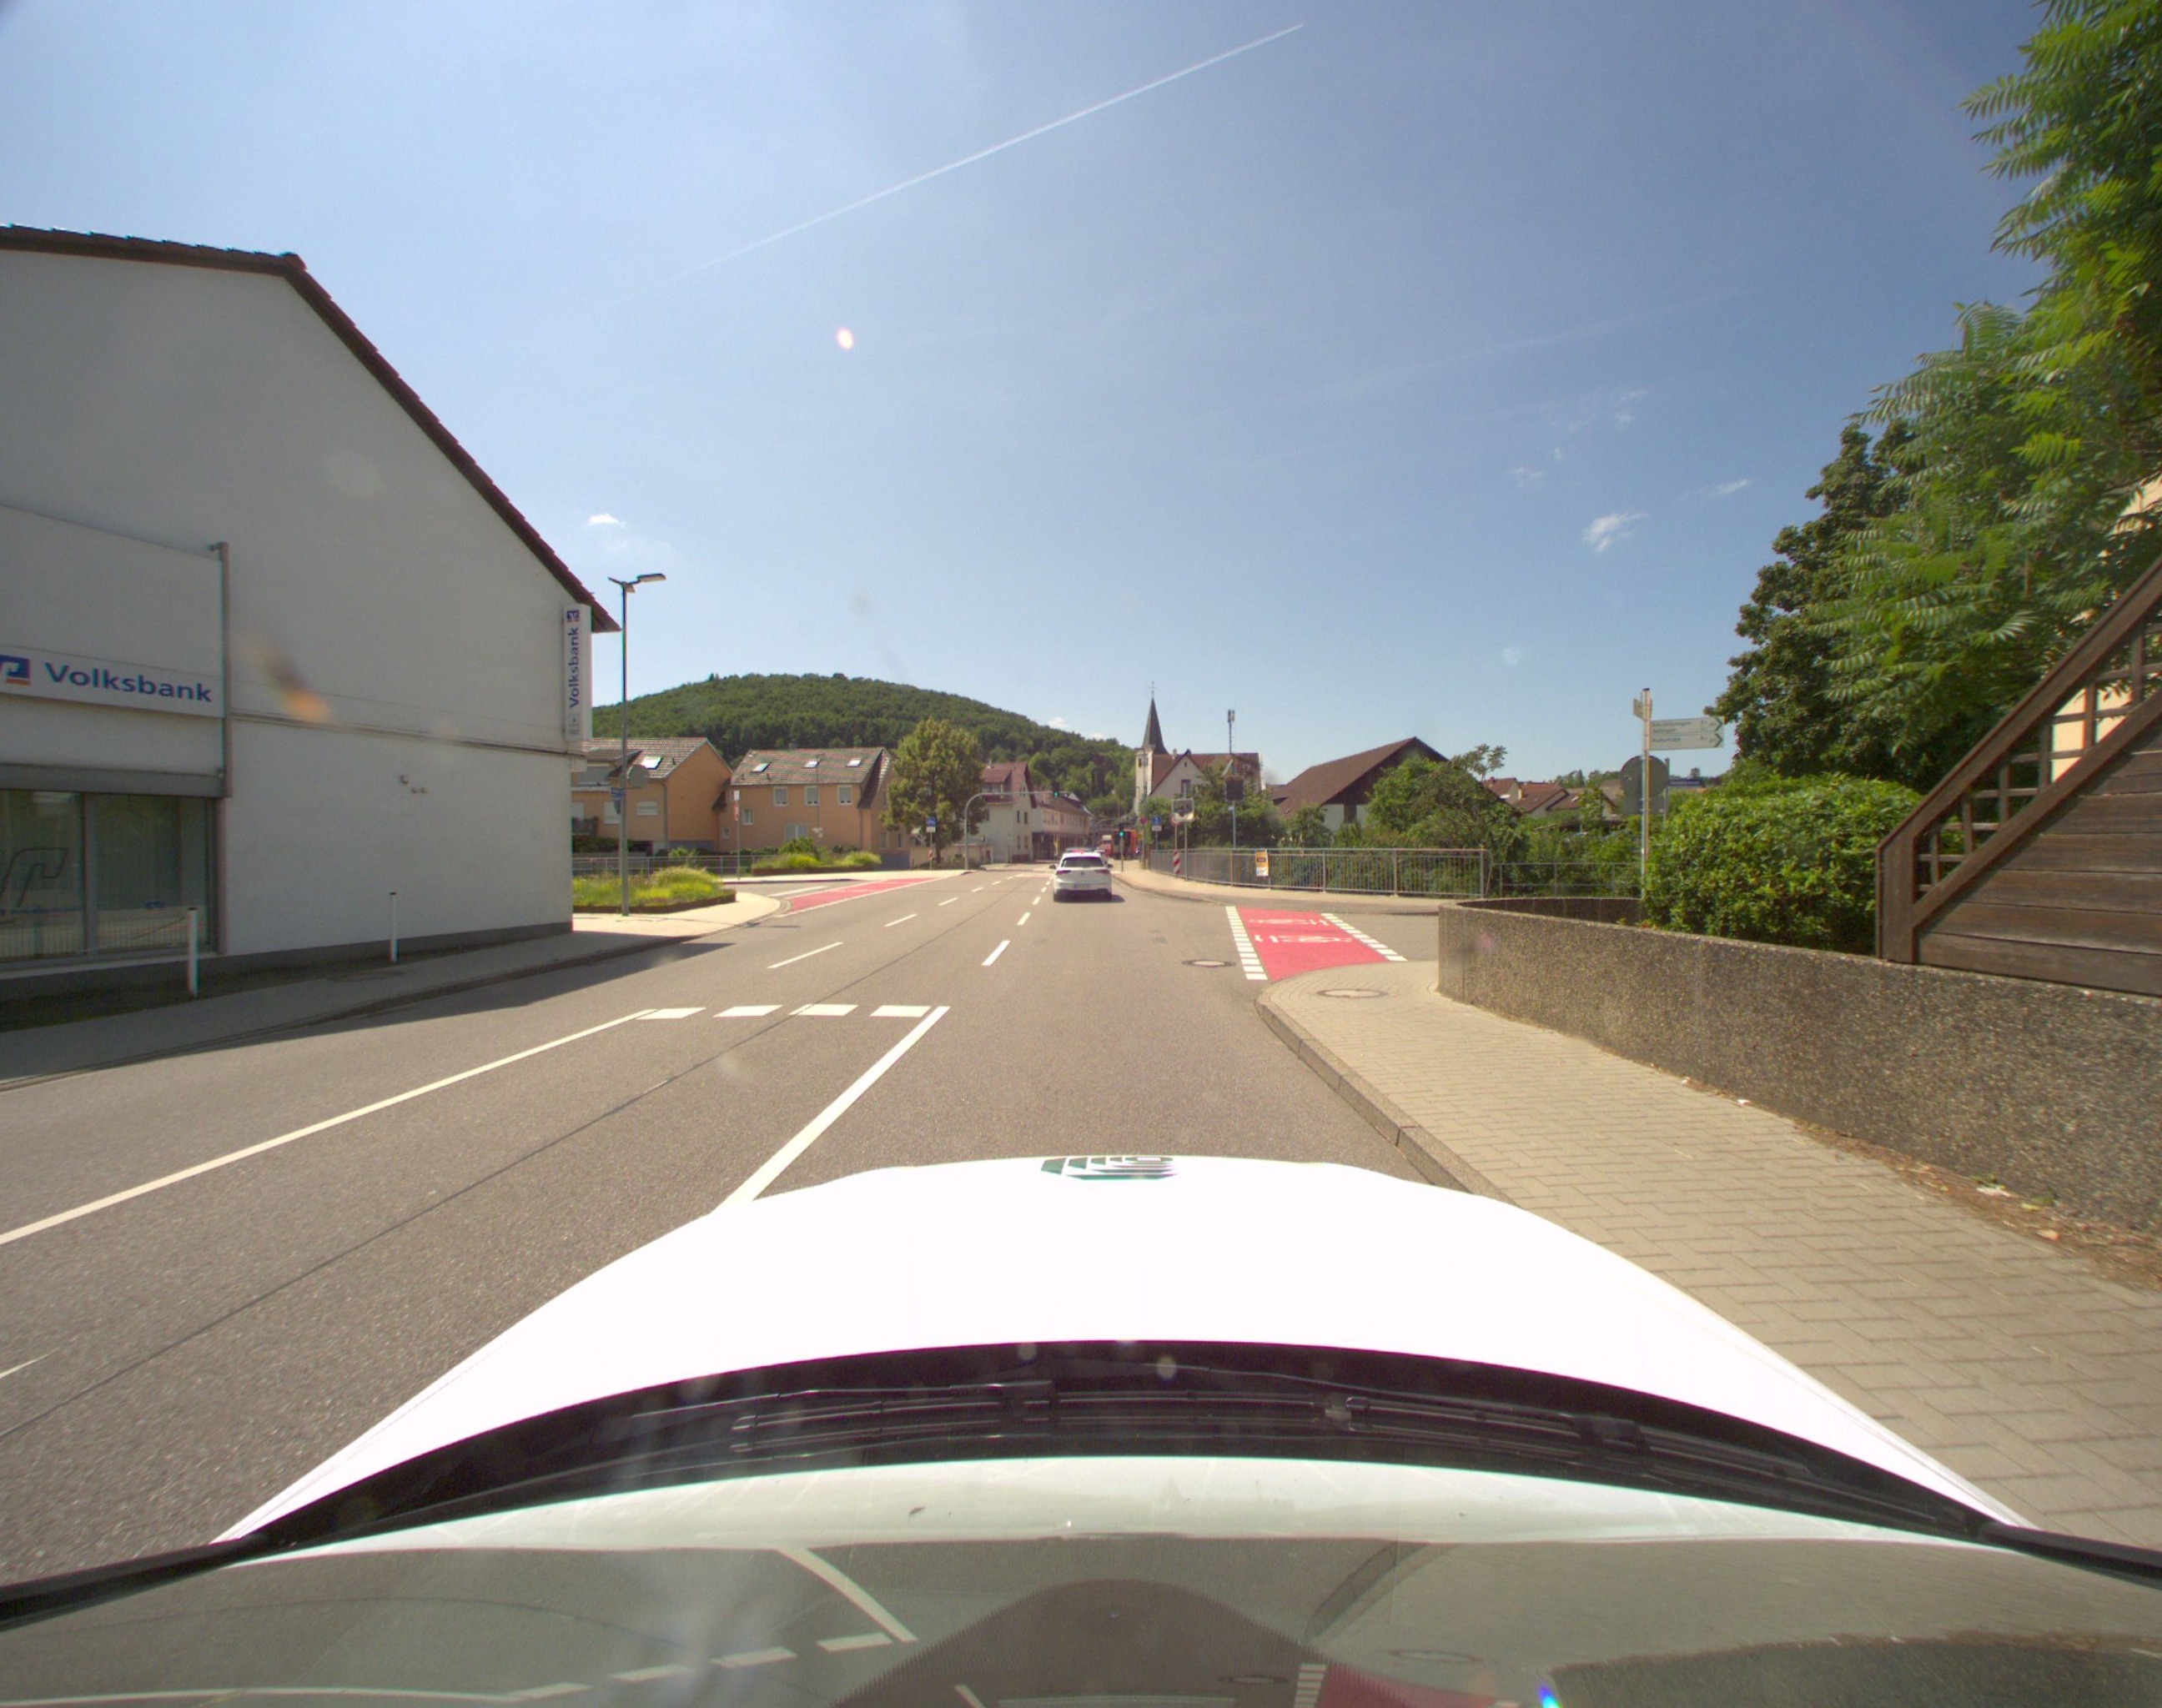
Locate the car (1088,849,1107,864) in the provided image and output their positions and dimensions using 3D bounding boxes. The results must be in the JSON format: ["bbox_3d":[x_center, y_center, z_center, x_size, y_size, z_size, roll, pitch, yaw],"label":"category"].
[{"bbox_3d":[1.760,0.298,86.574,1.807,1.519,4.003,-2,0,3],"label":"car"}]

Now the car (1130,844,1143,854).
[{"bbox_3d":[8.662,-0.715,127.294,1.807,1.519,4.003,-2,0,3],"label":"car"}]

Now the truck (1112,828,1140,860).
[{"bbox_3d":[6.244,-1.261,112.197,3.350,4.170,9.533,-2,0,6],"label":"truck"}]

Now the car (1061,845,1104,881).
[{"bbox_3d":[0.118,0.434,39.502,1.807,1.628,4.003,-2,0,3],"label":"car"}]

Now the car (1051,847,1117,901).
[{"bbox_3d":[0.173,0.584,25.484,1.807,1.519,4.003,1,0,3],"label":"car"}]

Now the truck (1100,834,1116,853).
[{"bbox_3d":[4.975,-1.870,147.939,2.489,3.235,6.049,-2,0,6],"label":"truck"}]

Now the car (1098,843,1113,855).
[{"bbox_3d":[3.559,-0.739,117.917,1.985,1.705,4.316,-2,0,3],"label":"car"}]

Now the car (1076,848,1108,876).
[{"bbox_3d":[0.761,0.486,51.457,1.807,1.628,4.003,-2,0,3],"label":"car"}]

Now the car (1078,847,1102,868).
[{"bbox_3d":[0.767,0.321,66.967,1.807,1.628,4.003,-2,0,3],"label":"car"}]

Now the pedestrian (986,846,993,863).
[{"bbox_3d":[-9.320,0.026,82.847,0.430,1.764,0.560,-1,0,22],"label":"pedestrian"}]
